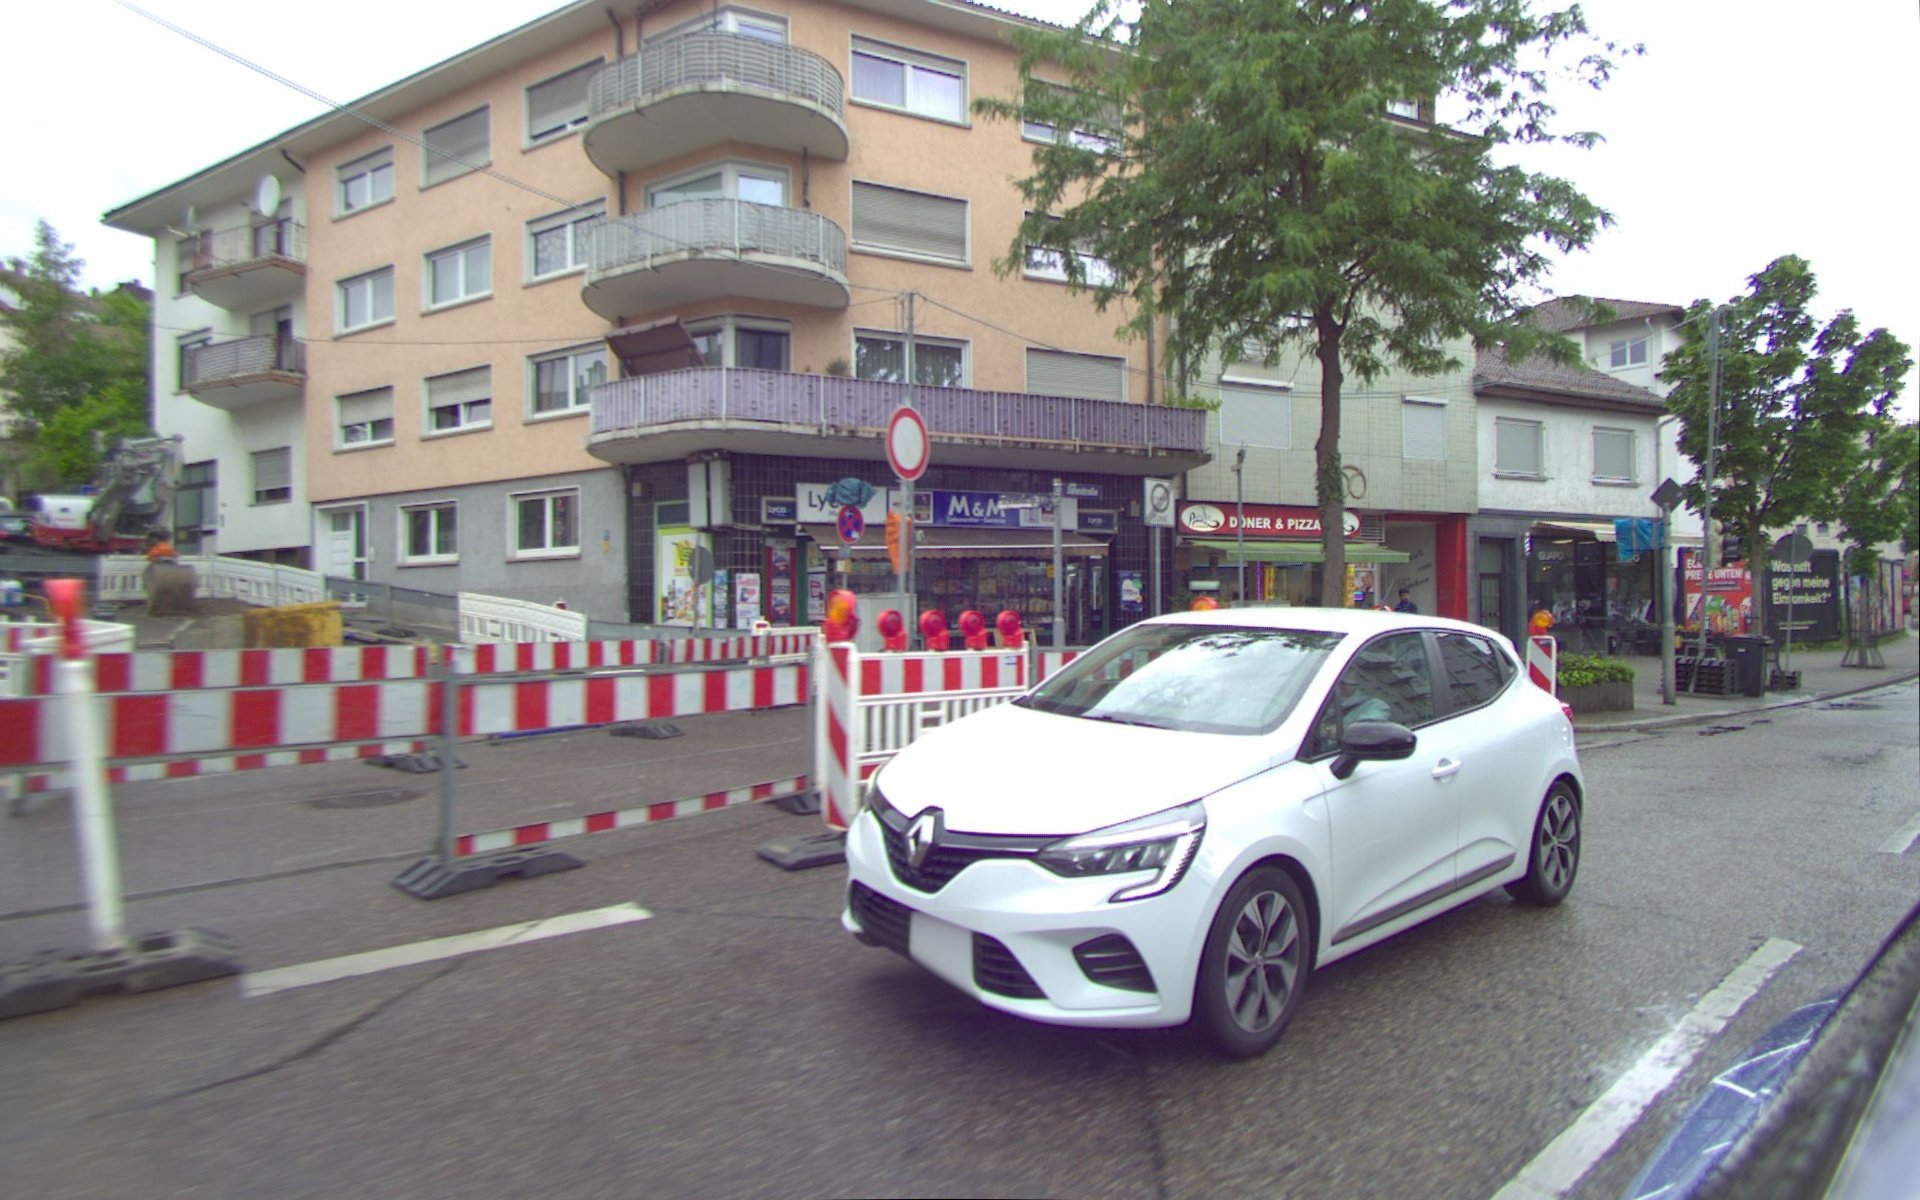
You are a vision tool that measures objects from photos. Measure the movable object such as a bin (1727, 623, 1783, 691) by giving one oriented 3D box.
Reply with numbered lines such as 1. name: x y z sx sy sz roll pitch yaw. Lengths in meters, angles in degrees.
1. movable object such as a bin: 13.845 0.984 17.616 0.652 1.125 0.580 2 0 -35

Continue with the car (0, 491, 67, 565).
1. car: -26.430 -2.063 27.814 3.691 1.745 1.744 8 3 30

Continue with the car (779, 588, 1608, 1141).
1. car: 1.327 0.692 4.586 3.930 1.421 1.679 0 1 -41

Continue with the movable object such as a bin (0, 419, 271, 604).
1. movable object such as a bin: -18.934 -2.035 22.944 6.481 3.681 2.715 6 2 29

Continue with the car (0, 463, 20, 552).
1. car: -31.397 -3.090 31.139 5.050 2.647 1.873 7 3 26

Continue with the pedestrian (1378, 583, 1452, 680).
1. pedestrian: 8.879 0.594 19.785 0.888 1.814 0.972 0 2 -10
